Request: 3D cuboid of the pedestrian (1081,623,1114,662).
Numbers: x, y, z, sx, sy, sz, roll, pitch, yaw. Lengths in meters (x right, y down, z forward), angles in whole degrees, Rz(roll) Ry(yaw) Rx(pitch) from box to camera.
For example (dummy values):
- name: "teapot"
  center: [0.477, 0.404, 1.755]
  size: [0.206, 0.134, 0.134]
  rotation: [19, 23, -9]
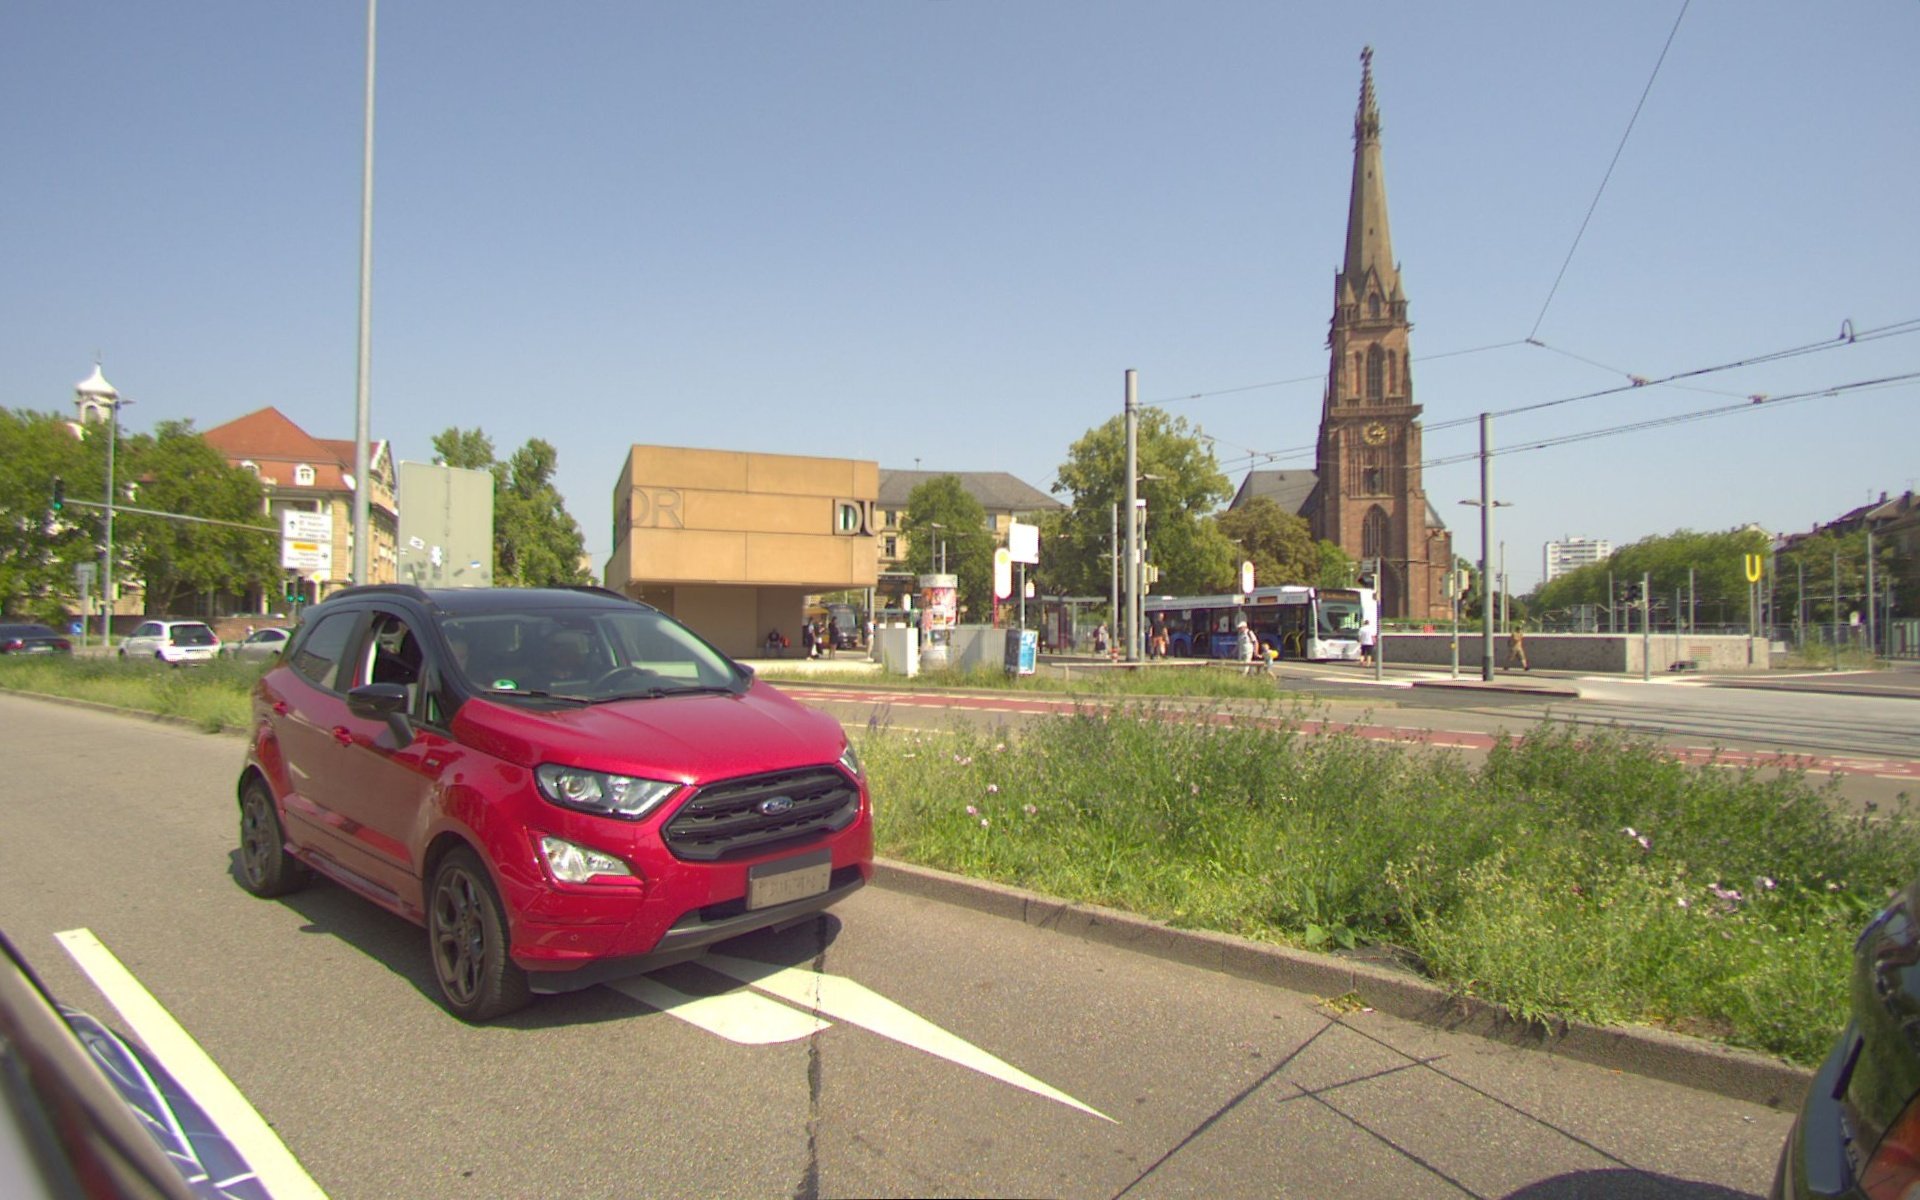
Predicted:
- name: "pedestrian"
  center: [6.036, 1.853, 44.542]
  size: [1.060, 1.709, 1.068]
  rotation: [1, -2, -21]

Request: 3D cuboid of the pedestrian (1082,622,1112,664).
- name: "pedestrian"
  center: [6.033, 1.894, 44.499]
  size: [0.913, 1.837, 0.940]
  rotation: [1, -2, -26]

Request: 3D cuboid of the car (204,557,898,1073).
- name: "car"
  center: [-2.266, 0.700, 5.056]
  size: [3.843, 1.598, 1.672]
  rotation: [-2, -1, 41]

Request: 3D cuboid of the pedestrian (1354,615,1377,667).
- name: "pedestrian"
  center: [14.622, 1.471, 36.471]
  size: [0.636, 1.825, 0.595]
  rotation: [-1, 0, 33]

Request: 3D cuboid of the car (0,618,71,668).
- name: "car"
  center: [-28.310, 1.275, 30.357]
  size: [3.466, 1.437, 1.510]
  rotation: [-1, -2, 32]

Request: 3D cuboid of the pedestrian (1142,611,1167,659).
- name: "pedestrian"
  center: [7.541, 1.369, 39.197]
  size: [0.792, 1.837, 0.535]
  rotation: [1, -2, -21]

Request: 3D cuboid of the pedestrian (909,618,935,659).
- name: "pedestrian"
  center: [-1.412, 1.417, 37.413]
  size: [0.605, 1.508, 0.761]
  rotation: [-1, -3, 39]

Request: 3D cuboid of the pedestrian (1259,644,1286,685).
- name: "pedestrian"
  center: [8.807, 1.816, 28.543]
  size: [0.594, 1.134, 0.637]
  rotation: [-1, 0, 7]

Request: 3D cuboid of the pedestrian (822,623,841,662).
- name: "pedestrian"
  center: [-5.069, 1.678, 39.894]
  size: [0.541, 1.508, 0.532]
  rotation: [-1, -3, 39]

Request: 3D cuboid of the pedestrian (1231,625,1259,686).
- name: "pedestrian"
  center: [8.175, 1.572, 29.005]
  size: [0.685, 1.724, 0.535]
  rotation: [0, -2, 8]

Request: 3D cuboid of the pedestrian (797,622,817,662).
- name: "pedestrian"
  center: [-5.872, 1.615, 38.955]
  size: [0.541, 1.508, 0.532]
  rotation: [-1, -3, 39]

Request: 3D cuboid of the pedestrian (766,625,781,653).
- name: "pedestrian"
  center: [-7.476, 1.578, 40.551]
  size: [0.530, 1.108, 0.543]
  rotation: [1, -2, -18]

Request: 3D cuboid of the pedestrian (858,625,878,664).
- name: "pedestrian"
  center: [-3.615, 1.755, 39.767]
  size: [0.541, 1.508, 0.532]
  rotation: [-1, -3, 39]

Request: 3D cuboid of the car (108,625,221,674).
- name: "car"
  center: [-25.327, 1.553, 32.220]
  size: [3.460, 1.490, 1.512]
  rotation: [-1, -2, 27]

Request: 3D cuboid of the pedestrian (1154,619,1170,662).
- name: "pedestrian"
  center: [8.723, 1.742, 43.775]
  size: [0.632, 1.825, 0.599]
  rotation: [-1, 0, 16]

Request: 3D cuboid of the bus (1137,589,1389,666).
- name: "bus"
  center: [12.115, 1.190, 42.653]
  size: [3.346, 2.733, 12.382]
  rotation: [1, -2, -21]

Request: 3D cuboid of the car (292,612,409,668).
- name: "car"
  center: [-21.449, 1.374, 35.607]
  size: [3.899, 1.868, 1.850]
  rotation: [0, -2, 30]

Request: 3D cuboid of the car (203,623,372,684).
- name: "car"
  center: [-18.970, 1.457, 28.535]
  size: [4.693, 1.597, 1.981]
  rotation: [-1, -2, 28]

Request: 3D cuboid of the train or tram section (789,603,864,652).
- name: "train or tram section"
  center: [-10.598, 2.155, 78.743]
  size: [2.658, 3.465, 13.464]
  rotation: [1, -2, -21]
